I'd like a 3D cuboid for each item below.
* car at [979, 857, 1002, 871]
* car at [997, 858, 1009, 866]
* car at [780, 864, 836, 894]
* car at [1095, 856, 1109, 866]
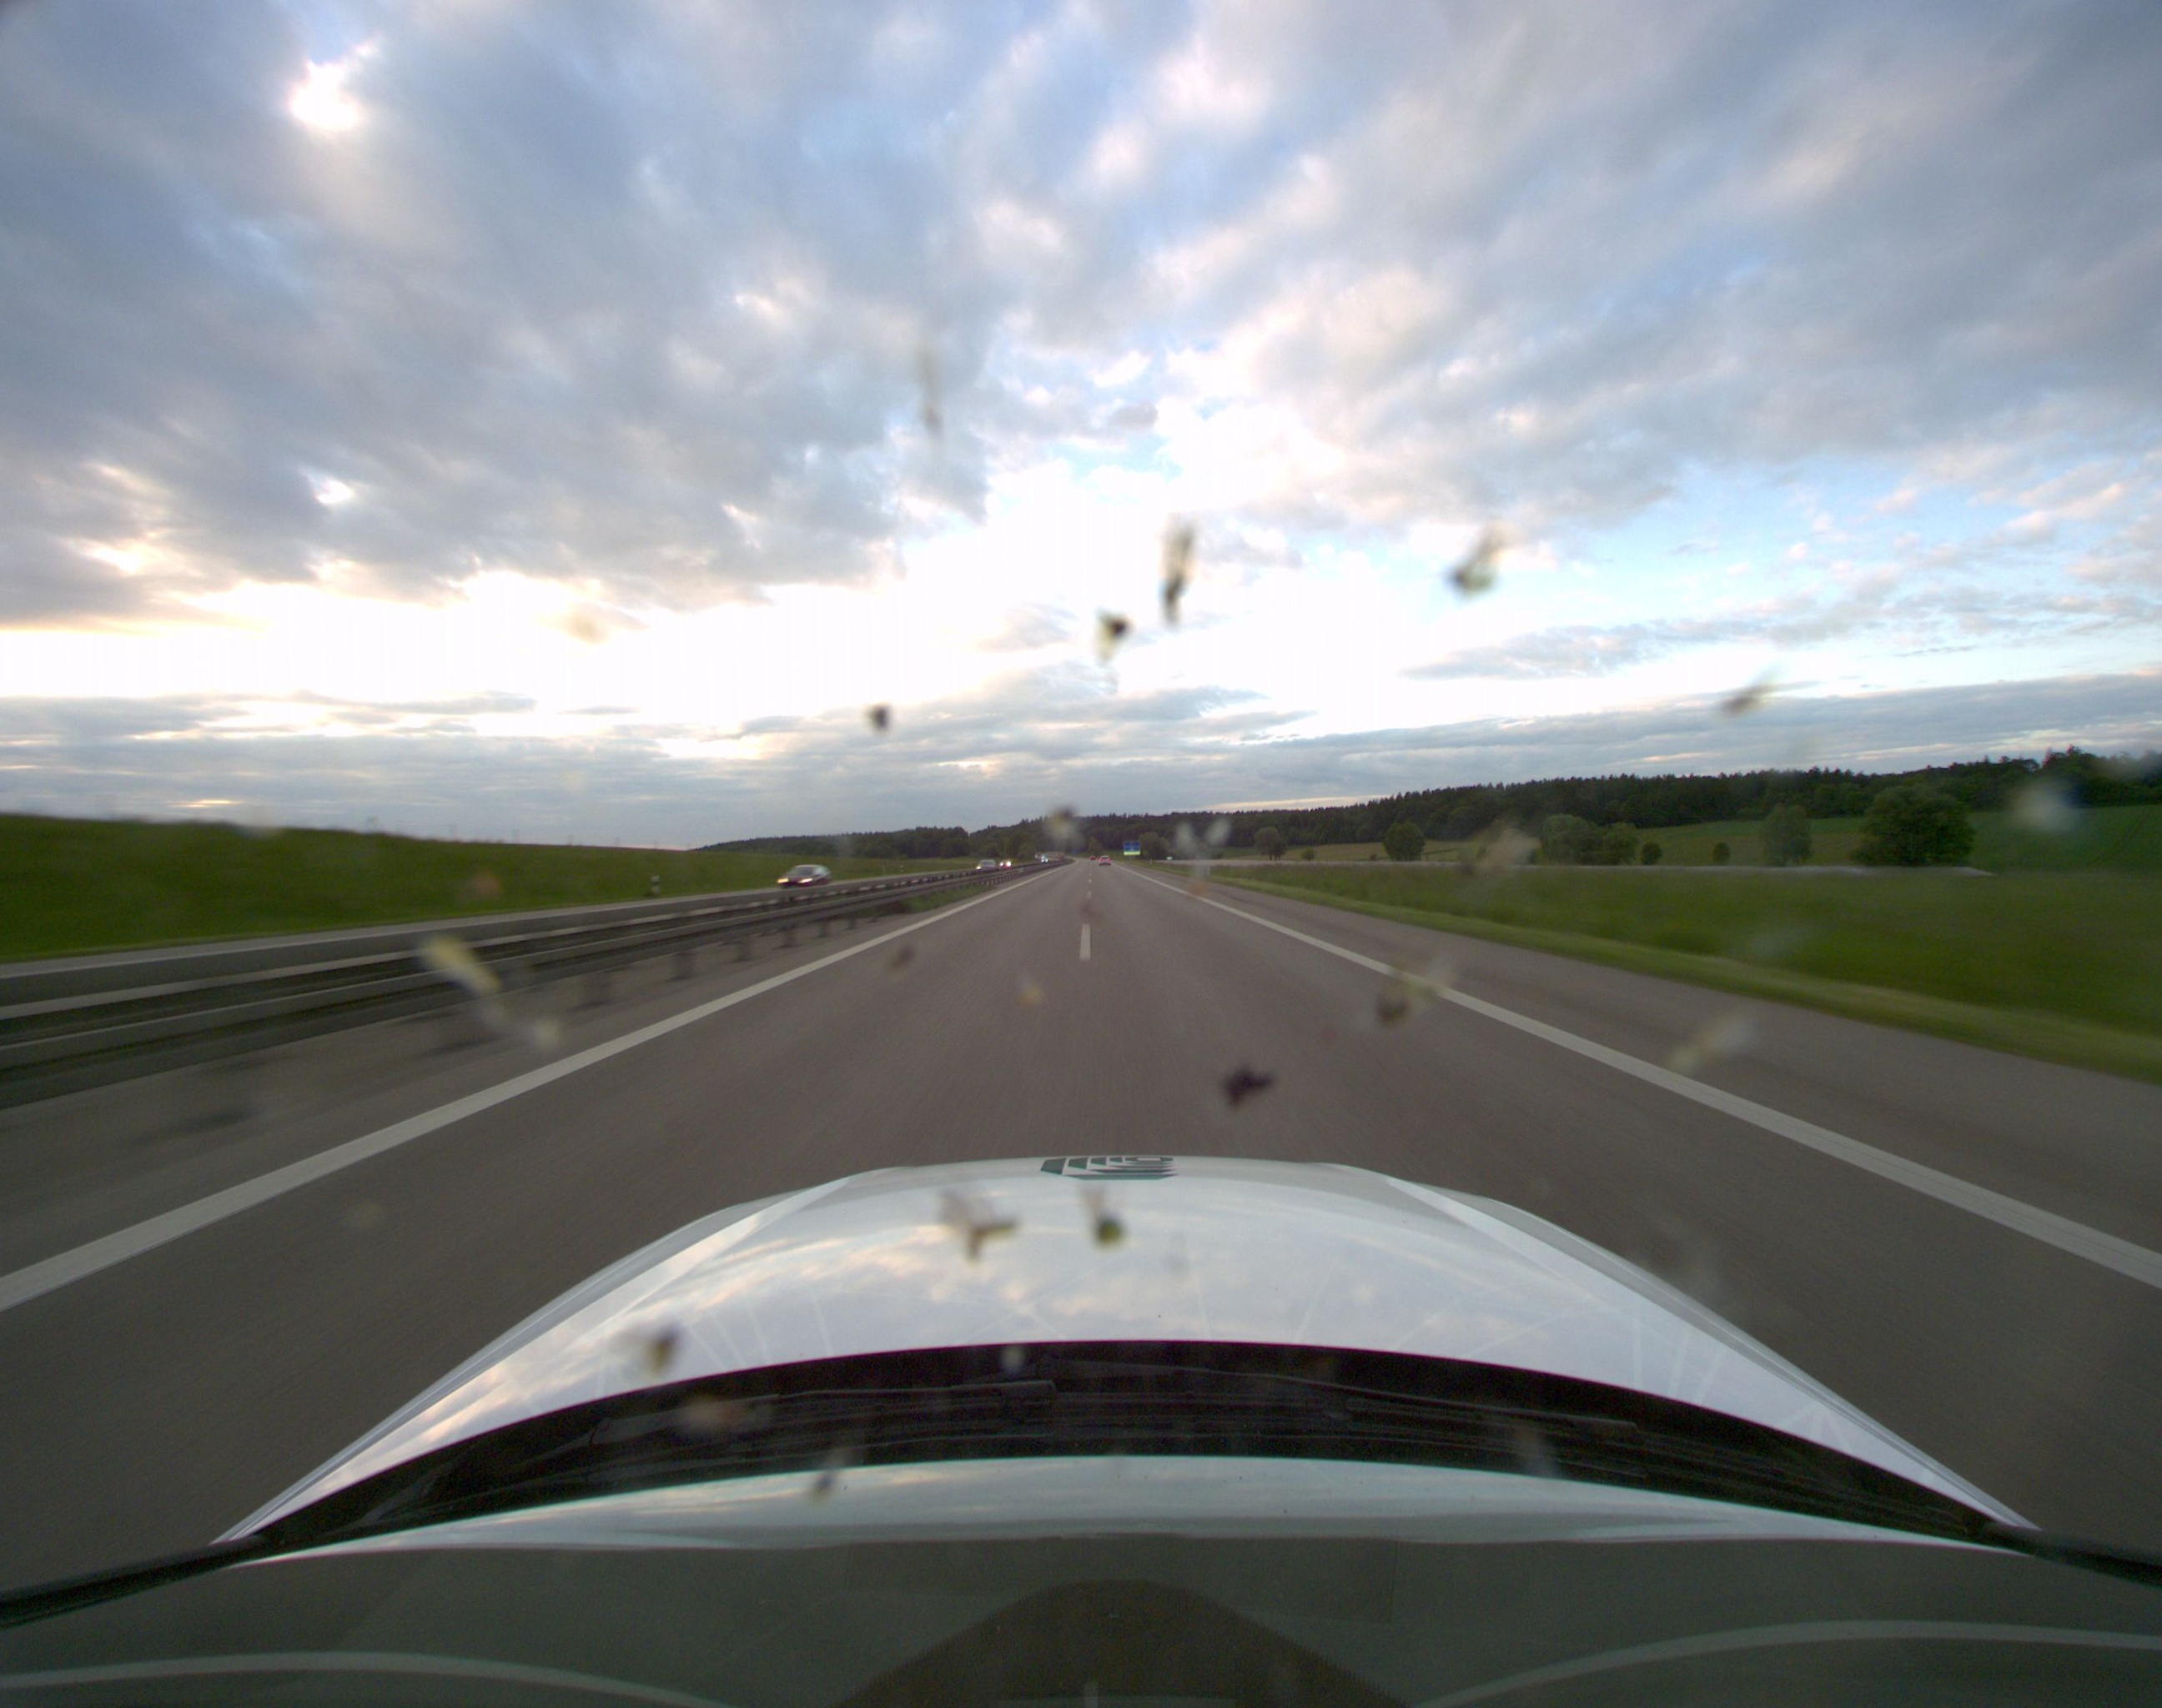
[{"bbox_3d":[-9.629,1.031,86.796,1.732,1.456,5.123,0,0,2],"label":"car"},{"bbox_3d":[-13.936,1.396,145.484,1.668,1.360,4.010,1,0,0],"label":"car"},{"bbox_3d":[-14.667,1.309,43.999,1.523,1.433,4.434,0,0,0],"label":"car"},{"bbox_3d":[3.210,1.087,126.075,1.946,1.531,4.078,0,0,-1],"label":"car"}]
